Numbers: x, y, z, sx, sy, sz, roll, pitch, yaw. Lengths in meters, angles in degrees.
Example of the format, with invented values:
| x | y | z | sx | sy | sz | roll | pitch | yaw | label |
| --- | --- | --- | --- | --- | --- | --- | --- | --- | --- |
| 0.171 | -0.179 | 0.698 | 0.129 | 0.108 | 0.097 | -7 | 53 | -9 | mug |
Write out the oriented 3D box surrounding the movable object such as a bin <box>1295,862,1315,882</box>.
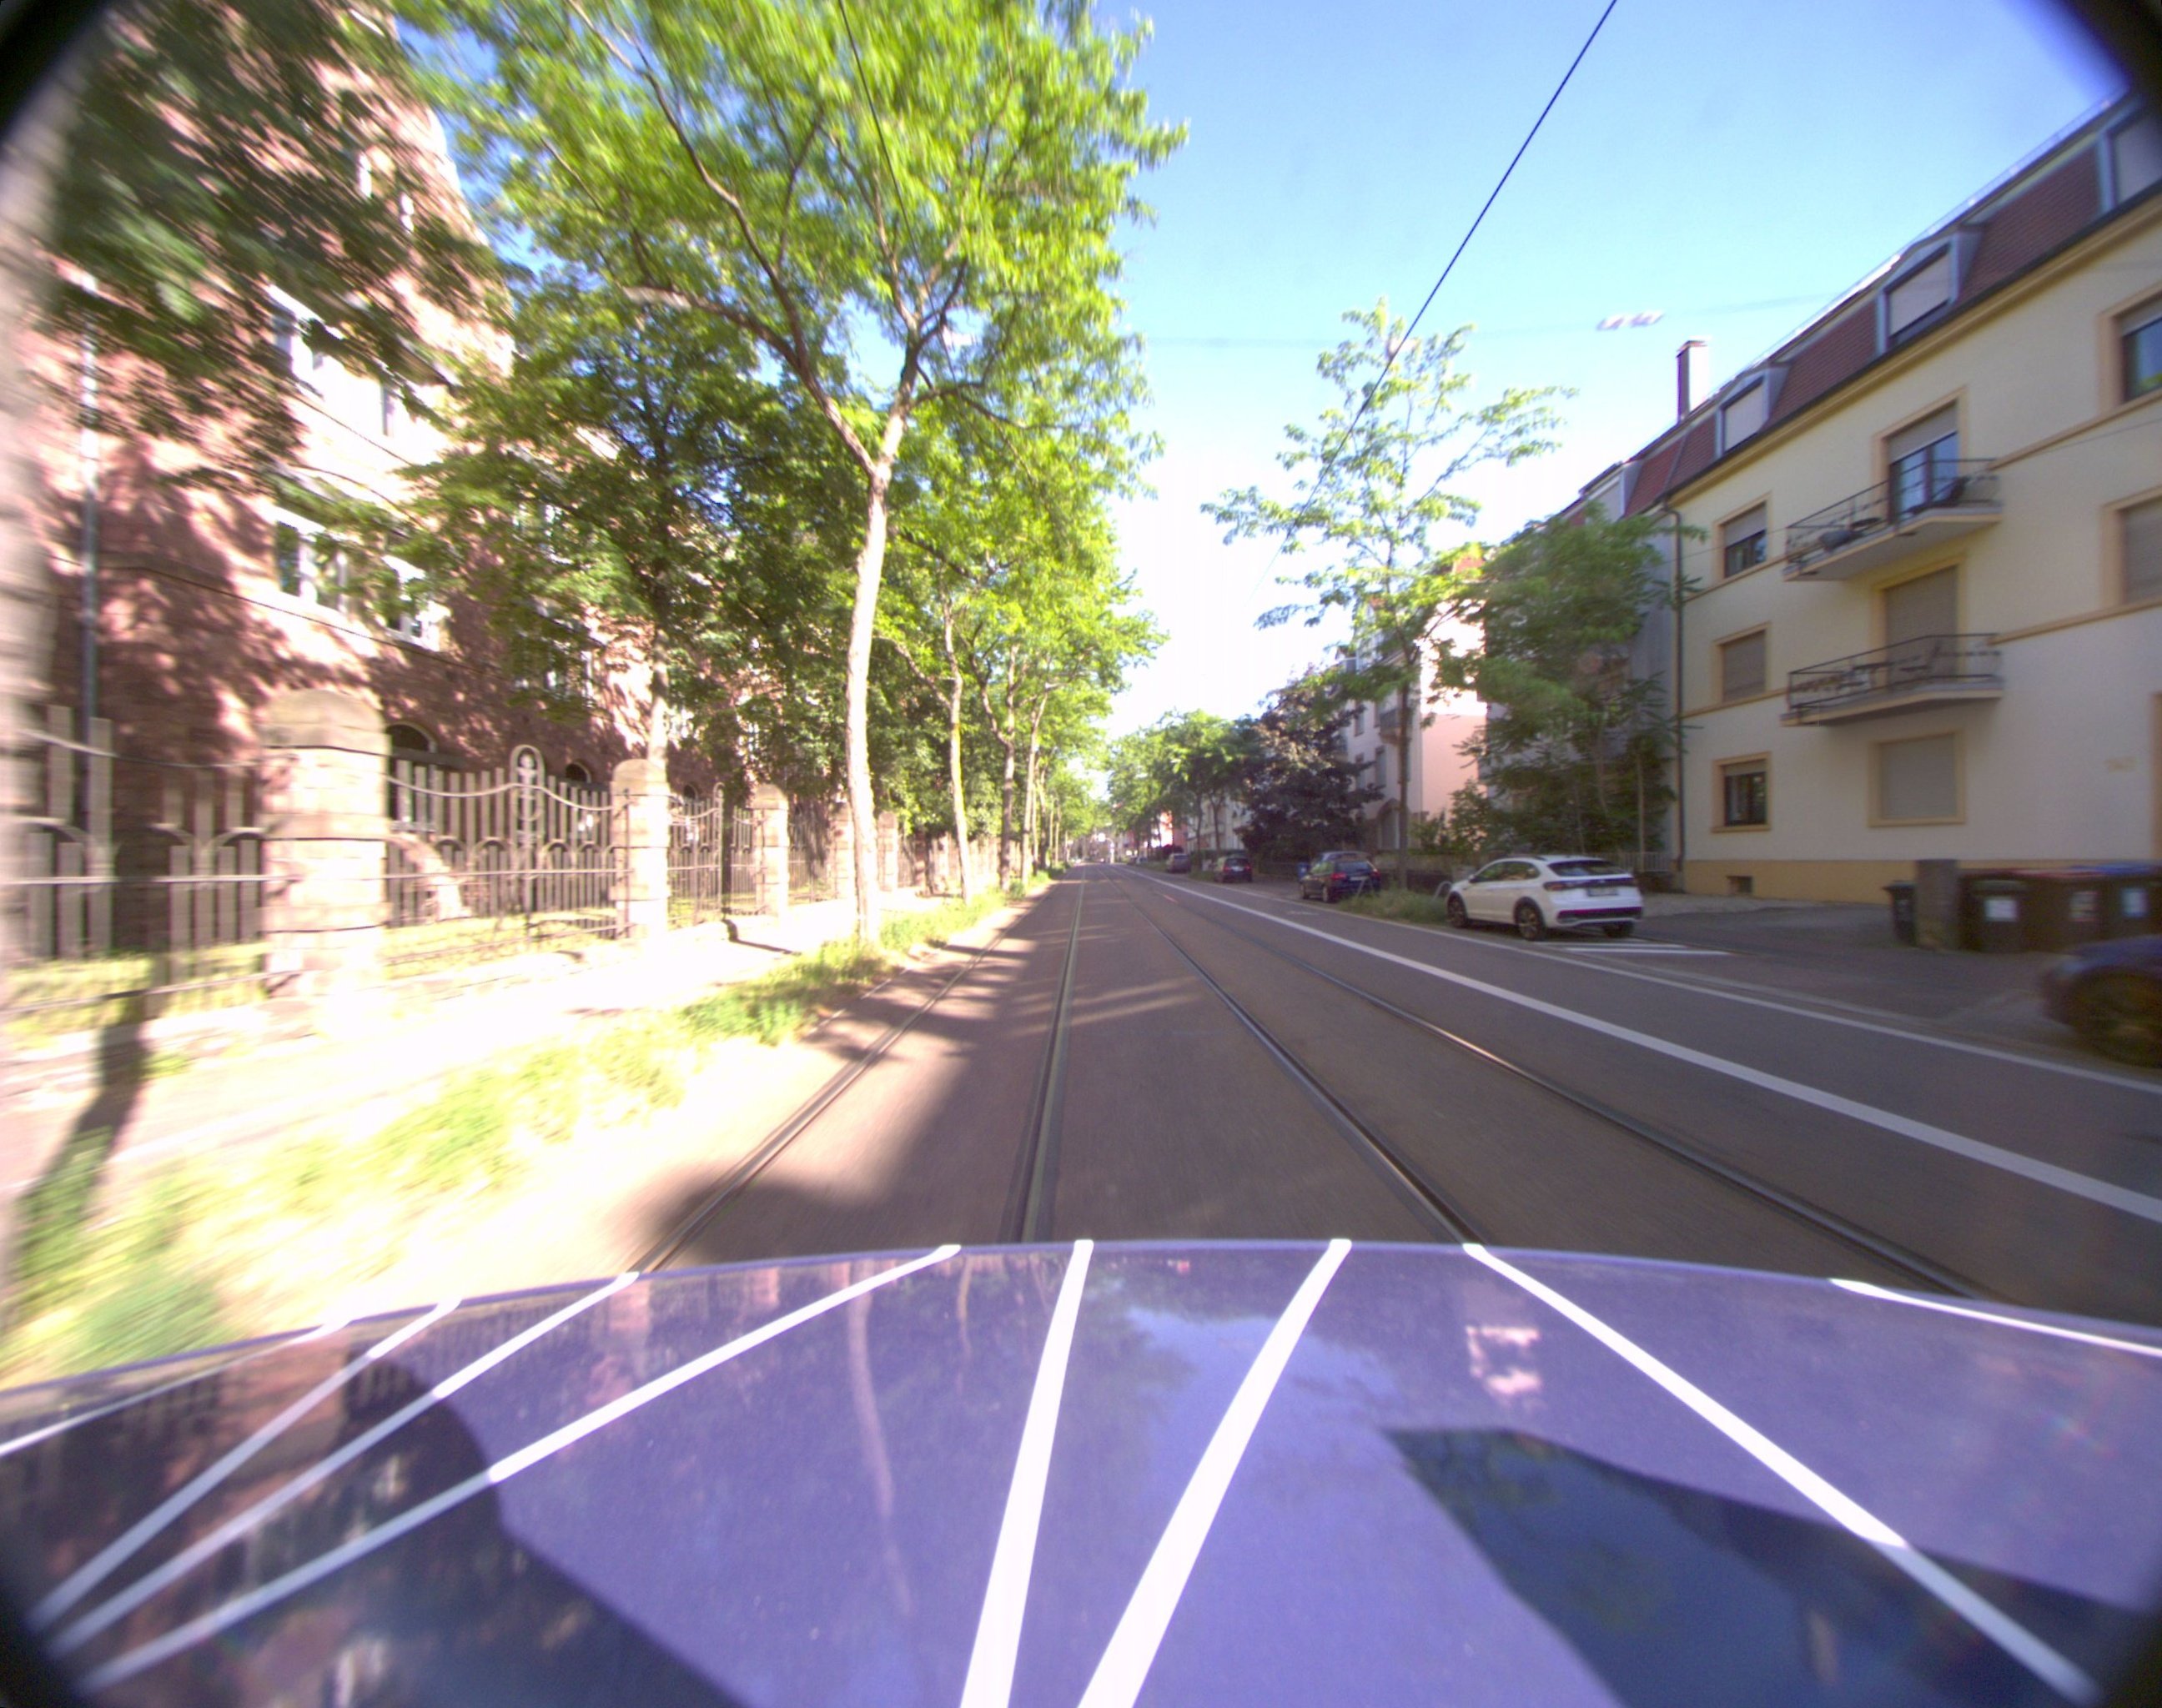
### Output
| x | y | z | sx | sy | sz | roll | pitch | yaw | label |
| --- | --- | --- | --- | --- | --- | --- | --- | --- | --- |
| 12.237 | 0.968 | 41.481 | 0.877 | 1.060 | 0.814 | -1 | 1 | 1 | movable object such as a bin |

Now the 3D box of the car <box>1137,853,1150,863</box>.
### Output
| x | y | z | sx | sy | sz | roll | pitch | yaw | label |
| --- | --- | --- | --- | --- | --- | --- | --- | --- | --- |
| 9.754 | 0.637 | 118.909 | 1.629 | 1.526 | 3.689 | -2 | 0 | -1 | car |

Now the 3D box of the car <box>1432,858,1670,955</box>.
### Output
| x | y | z | sx | sy | sz | roll | pitch | yaw | label |
| --- | --- | --- | --- | --- | --- | --- | --- | --- | --- |
| 8.738 | 0.879 | 14.665 | 1.822 | 1.502 | 4.370 | -2 | 0 | -1 | car |

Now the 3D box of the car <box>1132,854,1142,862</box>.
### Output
| x | y | z | sx | sy | sz | roll | pitch | yaw | label |
| --- | --- | --- | --- | --- | --- | --- | --- | --- | --- |
| 9.655 | 0.686 | 130.802 | 1.558 | 1.446 | 3.668 | -2 | 0 | 0 | car |

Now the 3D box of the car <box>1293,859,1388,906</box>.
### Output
| x | y | z | sx | sy | sz | roll | pitch | yaw | label |
| --- | --- | --- | --- | --- | --- | --- | --- | --- | --- |
| 8.712 | 0.904 | 25.909 | 1.710 | 1.398 | 4.333 | -2 | 0 | 0 | car |

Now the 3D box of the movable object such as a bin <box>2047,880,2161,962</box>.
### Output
| x | y | z | sx | sy | sz | roll | pitch | yaw | label |
| --- | --- | --- | --- | --- | --- | --- | --- | --- | --- |
| 13.305 | 0.853 | 9.864 | 0.561 | 0.970 | 0.733 | -3 | 0 | 4 | movable object such as a bin |

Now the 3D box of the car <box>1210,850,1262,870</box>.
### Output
| x | y | z | sx | sy | sz | roll | pitch | yaw | label |
| --- | --- | --- | --- | --- | --- | --- | --- | --- | --- |
| 14.147 | 0.540 | 69.531 | 4.311 | 1.651 | 1.953 | -2 | 0 | 2 | car |

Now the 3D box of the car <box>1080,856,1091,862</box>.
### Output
| x | y | z | sx | sy | sz | roll | pitch | yaw | label |
| --- | --- | --- | --- | --- | --- | --- | --- | --- | --- |
| 1.195 | 1.366 | 192.107 | 1.880 | 1.390 | 3.996 | -3 | 0 | -10 | car |

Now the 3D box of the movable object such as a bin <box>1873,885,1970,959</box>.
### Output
| x | y | z | sx | sy | sz | roll | pitch | yaw | label |
| --- | --- | --- | --- | --- | --- | --- | --- | --- | --- |
| 12.018 | 0.960 | 10.889 | 0.561 | 0.970 | 0.733 | -3 | 0 | 4 | movable object such as a bin |

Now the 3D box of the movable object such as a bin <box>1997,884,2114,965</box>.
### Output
| x | y | z | sx | sy | sz | roll | pitch | yaw | label |
| --- | --- | --- | --- | --- | --- | --- | --- | --- | --- |
| 12.677 | 0.903 | 9.905 | 0.561 | 0.970 | 0.733 | -3 | 0 | 4 | movable object such as a bin |

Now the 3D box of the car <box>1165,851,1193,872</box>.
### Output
| x | y | z | sx | sy | sz | roll | pitch | yaw | label |
| --- | --- | --- | --- | --- | --- | --- | --- | --- | --- |
| 9.085 | 0.661 | 70.746 | 1.875 | 1.812 | 4.771 | -2 | 0 | -1 | car |

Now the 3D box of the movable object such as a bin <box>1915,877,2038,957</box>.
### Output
| x | y | z | sx | sy | sz | roll | pitch | yaw | label |
| --- | --- | --- | --- | --- | --- | --- | --- | --- | --- |
| 12.743 | 0.879 | 10.839 | 0.846 | 1.040 | 0.733 | -3 | 1 | 4 | movable object such as a bin |

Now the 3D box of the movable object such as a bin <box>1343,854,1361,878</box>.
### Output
| x | y | z | sx | sy | sz | roll | pitch | yaw | label |
| --- | --- | --- | --- | --- | --- | --- | --- | --- | --- |
| 12.009 | 0.511 | 33.701 | 0.542 | 1.060 | 0.670 | -1 | 1 | 1 | movable object such as a bin |

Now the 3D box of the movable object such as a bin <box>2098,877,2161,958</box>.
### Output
| x | y | z | sx | sy | sz | roll | pitch | yaw | label |
| --- | --- | --- | --- | --- | --- | --- | --- | --- | --- |
| 13.910 | 0.807 | 9.801 | 0.561 | 0.970 | 0.733 | -3 | 0 | 4 | movable object such as a bin |

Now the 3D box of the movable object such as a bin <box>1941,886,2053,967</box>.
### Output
| x | y | z | sx | sy | sz | roll | pitch | yaw | label |
| --- | --- | --- | --- | --- | --- | --- | --- | --- | --- |
| 12.030 | 0.942 | 10.001 | 0.561 | 0.970 | 0.733 | -3 | 0 | 4 | movable object such as a bin |

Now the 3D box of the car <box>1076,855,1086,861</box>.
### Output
| x | y | z | sx | sy | sz | roll | pitch | yaw | label |
| --- | --- | --- | --- | --- | --- | --- | --- | --- | --- |
| -0.005 | 0.975 | 199.228 | 1.880 | 1.390 | 3.996 | -3 | 0 | -10 | car |

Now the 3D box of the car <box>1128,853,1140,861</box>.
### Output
| x | y | z | sx | sy | sz | roll | pitch | yaw | label |
| --- | --- | --- | --- | --- | --- | --- | --- | --- | --- |
| 9.724 | 0.542 | 139.866 | 1.577 | 1.446 | 4.095 | -2 | 0 | -2 | car |

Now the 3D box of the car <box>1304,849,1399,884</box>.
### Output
| x | y | z | sx | sy | sz | roll | pitch | yaw | label |
| --- | --- | --- | --- | --- | --- | --- | --- | --- | --- |
| 13.895 | 0.630 | 39.172 | 4.177 | 1.649 | 1.983 | -2 | 0 | -1 | car |

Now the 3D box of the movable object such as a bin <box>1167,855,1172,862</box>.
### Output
| x | y | z | sx | sy | sz | roll | pitch | yaw | label |
| --- | --- | --- | --- | --- | --- | --- | --- | --- | --- |
| 13.623 | 0.741 | 116.767 | 0.739 | 1.035 | 0.895 | 0 | 0 | 1 | movable object such as a bin |

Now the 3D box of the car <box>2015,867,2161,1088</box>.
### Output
| x | y | z | sx | sy | sz | roll | pitch | yaw | label |
| --- | --- | --- | --- | --- | --- | --- | --- | --- | --- |
| 8.476 | 0.870 | 3.942 | 1.762 | 1.502 | 4.438 | -2 | 0 | -1 | car |

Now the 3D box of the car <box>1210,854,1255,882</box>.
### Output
| x | y | z | sx | sy | sz | roll | pitch | yaw | label |
| --- | --- | --- | --- | --- | --- | --- | --- | --- | --- |
| 8.933 | 0.807 | 45.165 | 1.781 | 1.532 | 4.485 | -2 | 0 | 1 | car |

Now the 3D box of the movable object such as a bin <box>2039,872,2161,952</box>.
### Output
| x | y | z | sx | sy | sz | roll | pitch | yaw | label |
| --- | --- | --- | --- | --- | --- | --- | --- | --- | --- |
| 14.354 | 0.796 | 10.725 | 0.709 | 1.040 | 0.733 | -3 | 1 | 4 | movable object such as a bin |

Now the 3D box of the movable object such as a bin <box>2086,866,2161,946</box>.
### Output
| x | y | z | sx | sy | sz | roll | pitch | yaw | label |
| --- | --- | --- | --- | --- | --- | --- | --- | --- | --- |
| 15.042 | 0.715 | 10.672 | 0.846 | 1.040 | 0.733 | -3 | 1 | 4 | movable object such as a bin |
